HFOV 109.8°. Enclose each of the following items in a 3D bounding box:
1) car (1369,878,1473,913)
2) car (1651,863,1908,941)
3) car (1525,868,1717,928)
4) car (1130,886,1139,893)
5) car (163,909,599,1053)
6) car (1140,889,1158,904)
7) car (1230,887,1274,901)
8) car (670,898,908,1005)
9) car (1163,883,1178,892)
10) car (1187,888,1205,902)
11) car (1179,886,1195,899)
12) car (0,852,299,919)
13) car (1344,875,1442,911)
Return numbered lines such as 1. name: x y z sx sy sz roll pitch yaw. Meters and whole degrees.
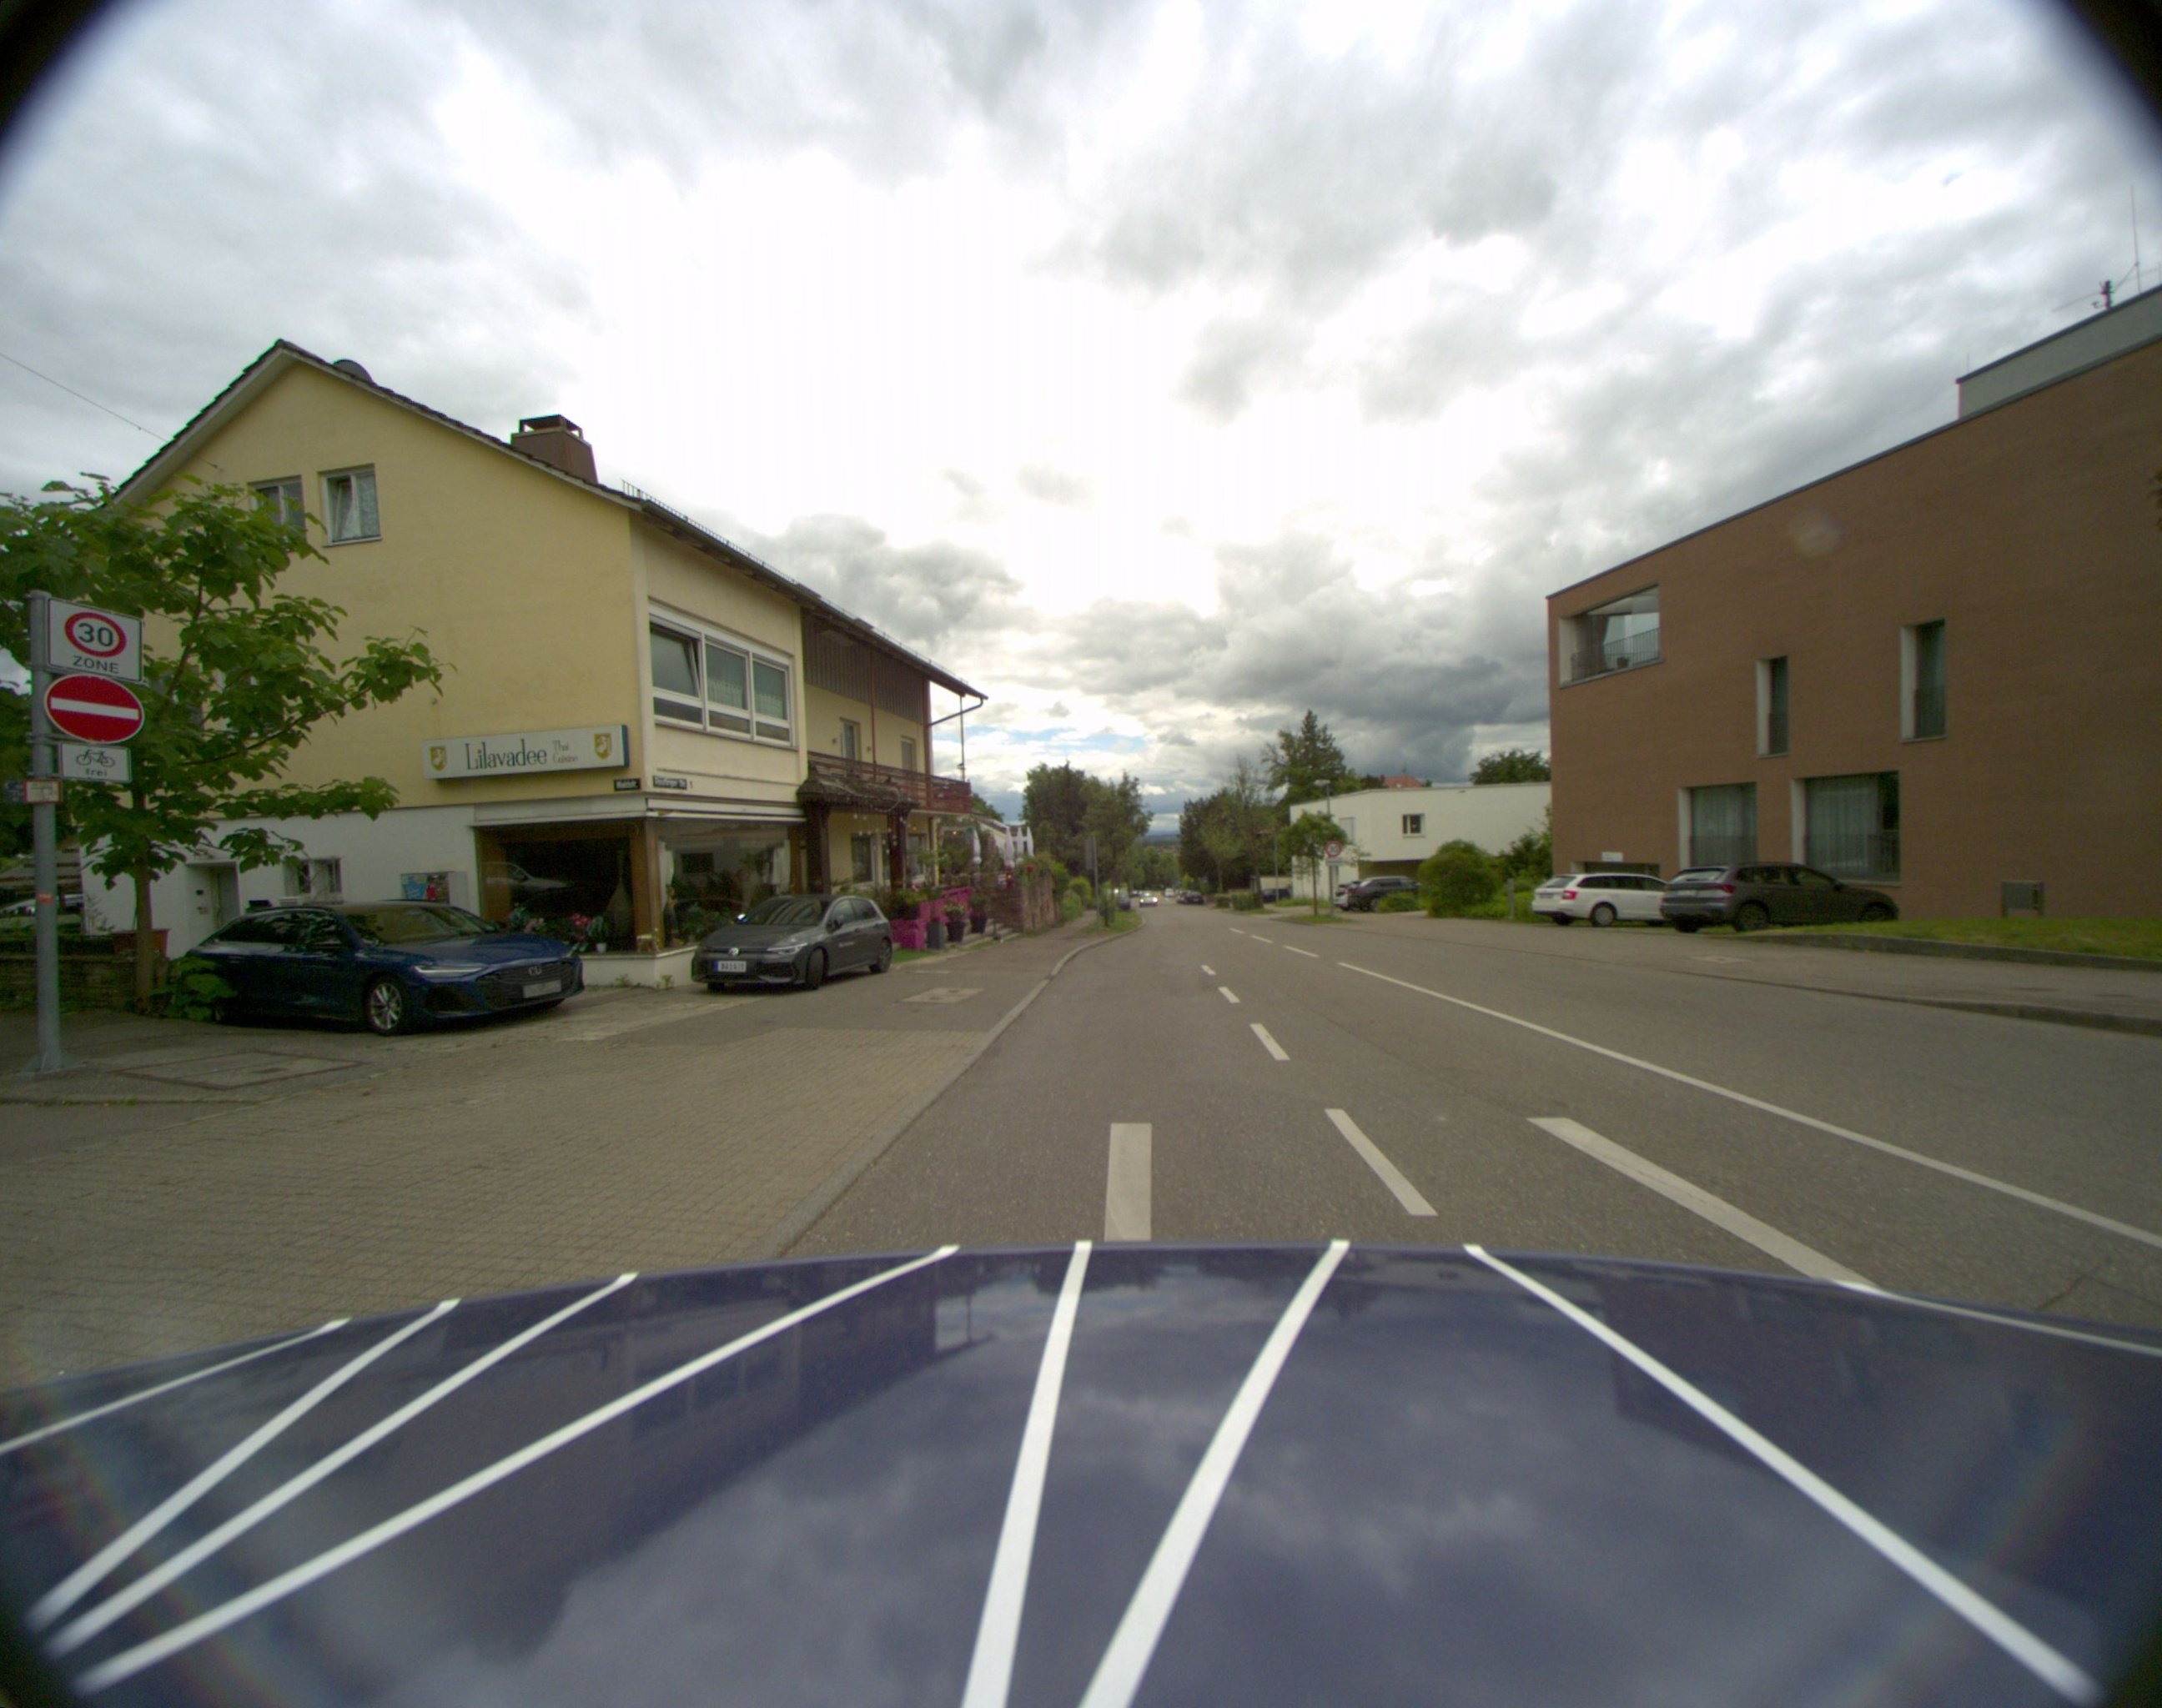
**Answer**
1. car: 15.616 1.893 35.036 3.996 1.476 1.728 -2 -3 3
2. car: 14.925 1.012 16.374 3.998 1.476 1.727 -1 -3 -3
3. car: 14.627 1.193 20.715 3.998 1.476 1.727 -1 -3 -3
4. car: 13.045 8.575 184.124 1.883 1.412 4.369 -1 -1 1
5. car: -8.518 1.416 9.293 4.739 1.378 1.802 -2 -1 18
6. car: 7.093 4.351 78.915 1.725 1.476 4.004 -2 -3 6
7. car: 16.568 3.879 73.730 3.995 1.278 1.665 -2 -3 7
8. car: -4.532 1.476 12.630 1.796 1.452 4.332 -1 -4 8
9. car: 16.237 6.062 137.974 1.884 1.412 4.368 -1 -1 -2
10. car: 12.203 4.294 80.580 1.661 1.412 4.004 -2 -3 6
11. car: 12.521 4.549 89.577 1.661 1.412 4.372 -2 -3 6
12. car: -22.832 0.826 18.871 1.795 1.452 4.336 -2 -4 22
13. car: 15.070 1.891 36.878 3.996 1.585 1.795 -2 -3 3
